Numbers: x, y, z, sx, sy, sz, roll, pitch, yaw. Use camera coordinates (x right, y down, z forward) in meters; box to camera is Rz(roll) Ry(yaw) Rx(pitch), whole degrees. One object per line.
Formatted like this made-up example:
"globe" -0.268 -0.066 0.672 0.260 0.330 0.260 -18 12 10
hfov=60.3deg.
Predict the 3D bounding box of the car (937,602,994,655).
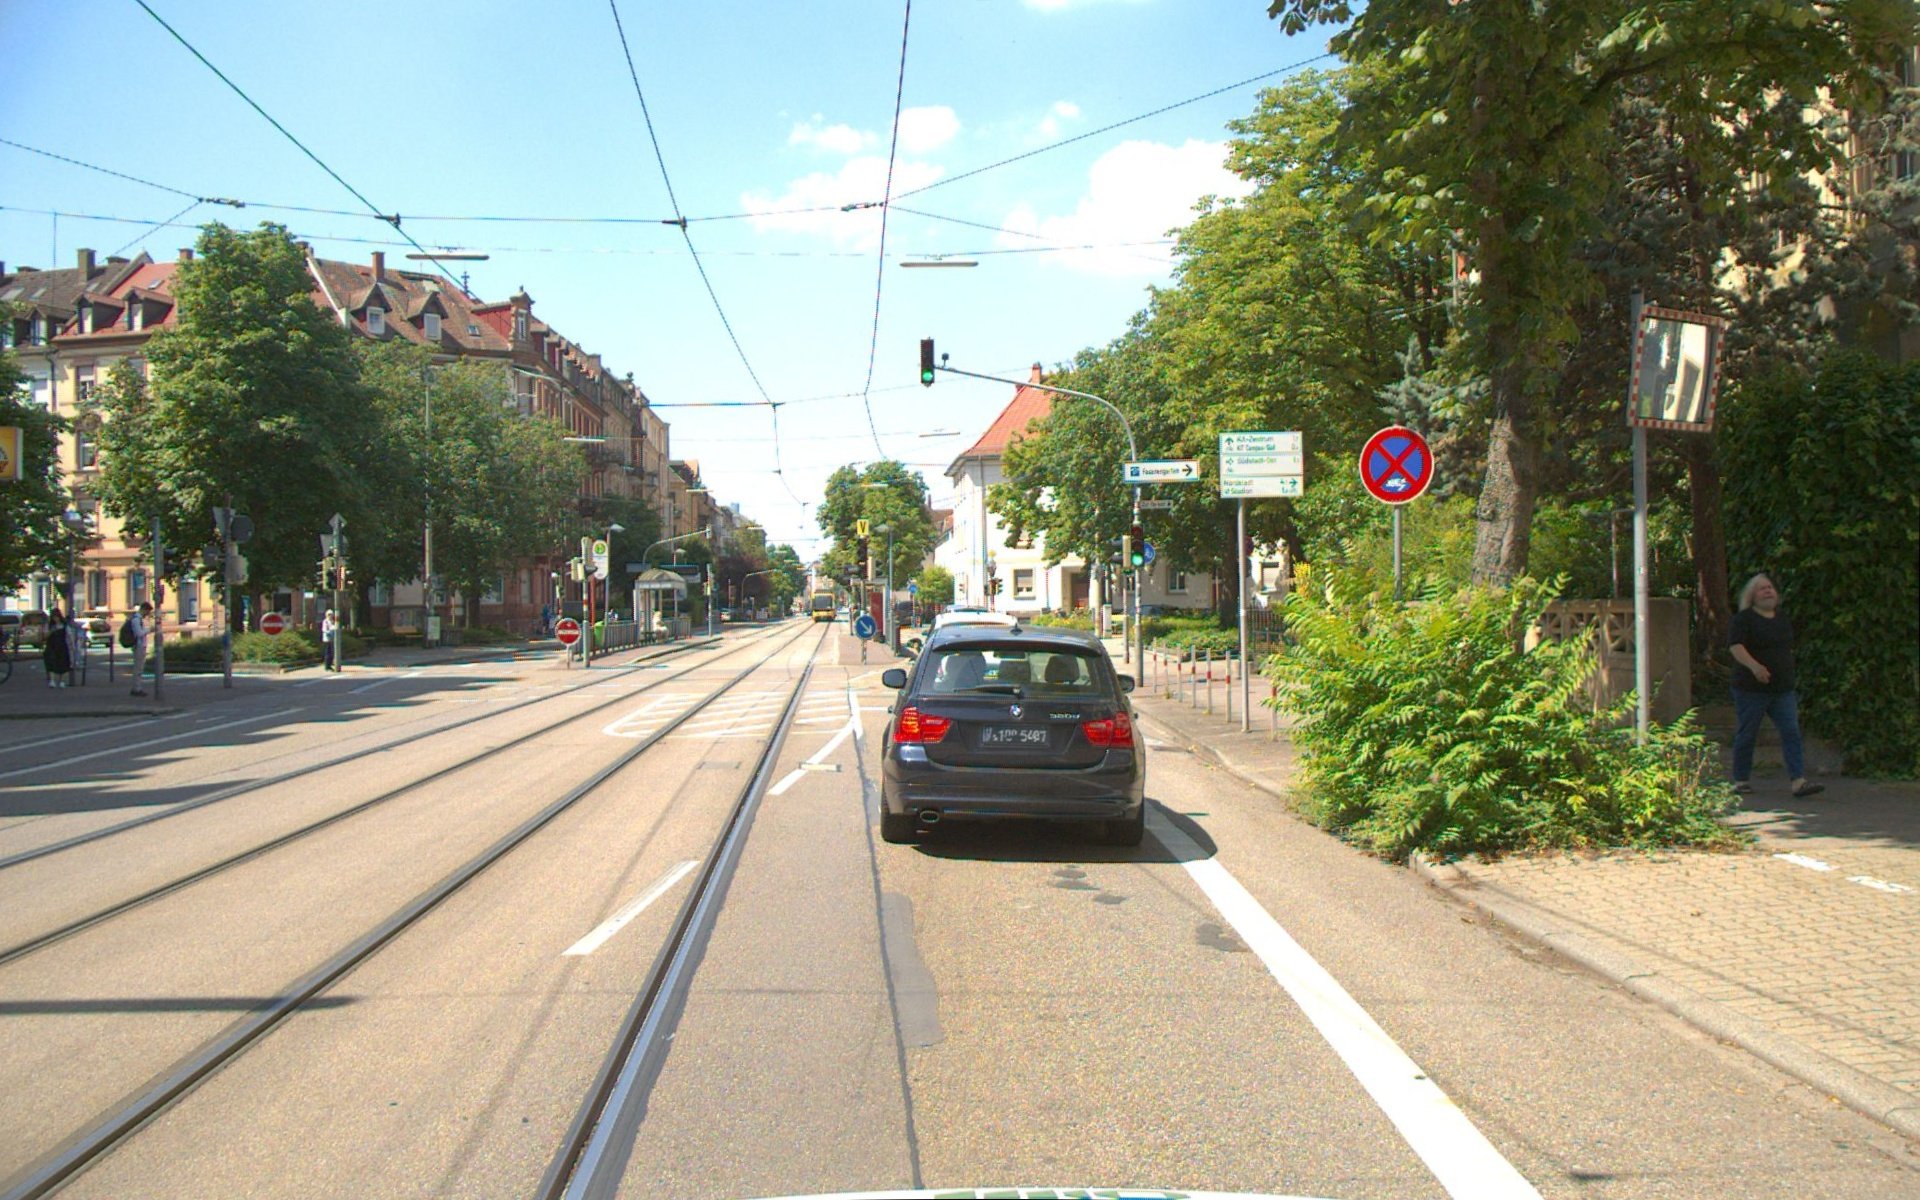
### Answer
"car" 0.131 0.845 50.794 1.657 1.540 3.820 -1 0 -1

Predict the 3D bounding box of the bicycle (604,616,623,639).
"bicycle" -17.670 1.401 84.390 0.714 1.121 1.713 1 1 -6

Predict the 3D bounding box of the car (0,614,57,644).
"car" -48.640 1.491 85.453 3.388 1.497 1.685 -1 0 21

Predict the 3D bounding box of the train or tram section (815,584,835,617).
"train or tram section" -14.971 0.011 183.744 2.147 3.543 8.836 -1 0 -4

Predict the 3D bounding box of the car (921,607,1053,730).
"car" 0.334 0.873 22.789 1.650 1.510 3.684 -1 0 0

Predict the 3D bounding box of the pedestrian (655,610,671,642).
"pedestrian" -11.943 1.035 66.507 0.602 1.264 0.626 -1 0 -10

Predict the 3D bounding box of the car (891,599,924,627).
"car" -3.722 0.902 117.139 1.956 1.881 3.993 -1 0 -8

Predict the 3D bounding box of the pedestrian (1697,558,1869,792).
"pedestrian" 6.125 0.543 12.355 0.839 1.674 0.837 -1 0 1

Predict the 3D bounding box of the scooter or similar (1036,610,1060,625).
"scooter or similar" 5.116 1.021 96.187 1.288 0.852 0.525 -1 0 -10

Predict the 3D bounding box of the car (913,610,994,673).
"car" -0.192 0.914 38.028 1.658 1.346 3.818 -1 0 -3

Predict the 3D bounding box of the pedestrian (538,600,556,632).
"pedestrian" -23.814 0.940 95.423 0.627 1.843 0.739 -1 0 29

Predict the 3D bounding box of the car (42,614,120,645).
"car" -44.891 1.513 84.463 3.388 1.497 1.685 -1 0 21

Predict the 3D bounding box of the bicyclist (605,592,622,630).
"bicyclist" -17.690 0.553 84.424 0.708 1.903 0.824 -1 0 -5

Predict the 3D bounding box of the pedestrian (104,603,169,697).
"pedestrian" -15.748 0.942 31.661 0.842 1.763 0.775 1 0 -3

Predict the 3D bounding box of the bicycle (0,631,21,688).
"bicycle" -19.828 1.241 34.043 0.539 1.148 1.657 0 -2 -41

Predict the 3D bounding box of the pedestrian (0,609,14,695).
"pedestrian" -18.548 0.992 31.295 0.791 1.622 0.918 -1 0 -6

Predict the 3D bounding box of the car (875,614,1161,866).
"car" 0.386 0.860 12.207 1.687 1.434 4.565 1 0 1

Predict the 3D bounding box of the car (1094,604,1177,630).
"car" 8.909 0.860 84.129 3.913 1.265 1.620 -1 0 31

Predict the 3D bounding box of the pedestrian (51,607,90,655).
"pedestrian" -36.204 1.258 67.322 0.978 1.901 1.018 -1 0 4

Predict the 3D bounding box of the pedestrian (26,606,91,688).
"pedestrian" -18.594 0.961 34.103 1.007 1.664 0.859 -1 0 39

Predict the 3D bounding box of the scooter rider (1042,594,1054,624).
"scooter rider" 5.101 0.519 96.179 0.579 1.716 0.527 -1 0 -10

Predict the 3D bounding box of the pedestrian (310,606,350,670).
"pedestrian" -17.678 1.065 46.407 0.830 1.753 0.908 -1 0 -35

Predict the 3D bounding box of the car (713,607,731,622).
"car" -27.335 1.661 190.176 1.756 1.614 3.987 1 -1 -13
